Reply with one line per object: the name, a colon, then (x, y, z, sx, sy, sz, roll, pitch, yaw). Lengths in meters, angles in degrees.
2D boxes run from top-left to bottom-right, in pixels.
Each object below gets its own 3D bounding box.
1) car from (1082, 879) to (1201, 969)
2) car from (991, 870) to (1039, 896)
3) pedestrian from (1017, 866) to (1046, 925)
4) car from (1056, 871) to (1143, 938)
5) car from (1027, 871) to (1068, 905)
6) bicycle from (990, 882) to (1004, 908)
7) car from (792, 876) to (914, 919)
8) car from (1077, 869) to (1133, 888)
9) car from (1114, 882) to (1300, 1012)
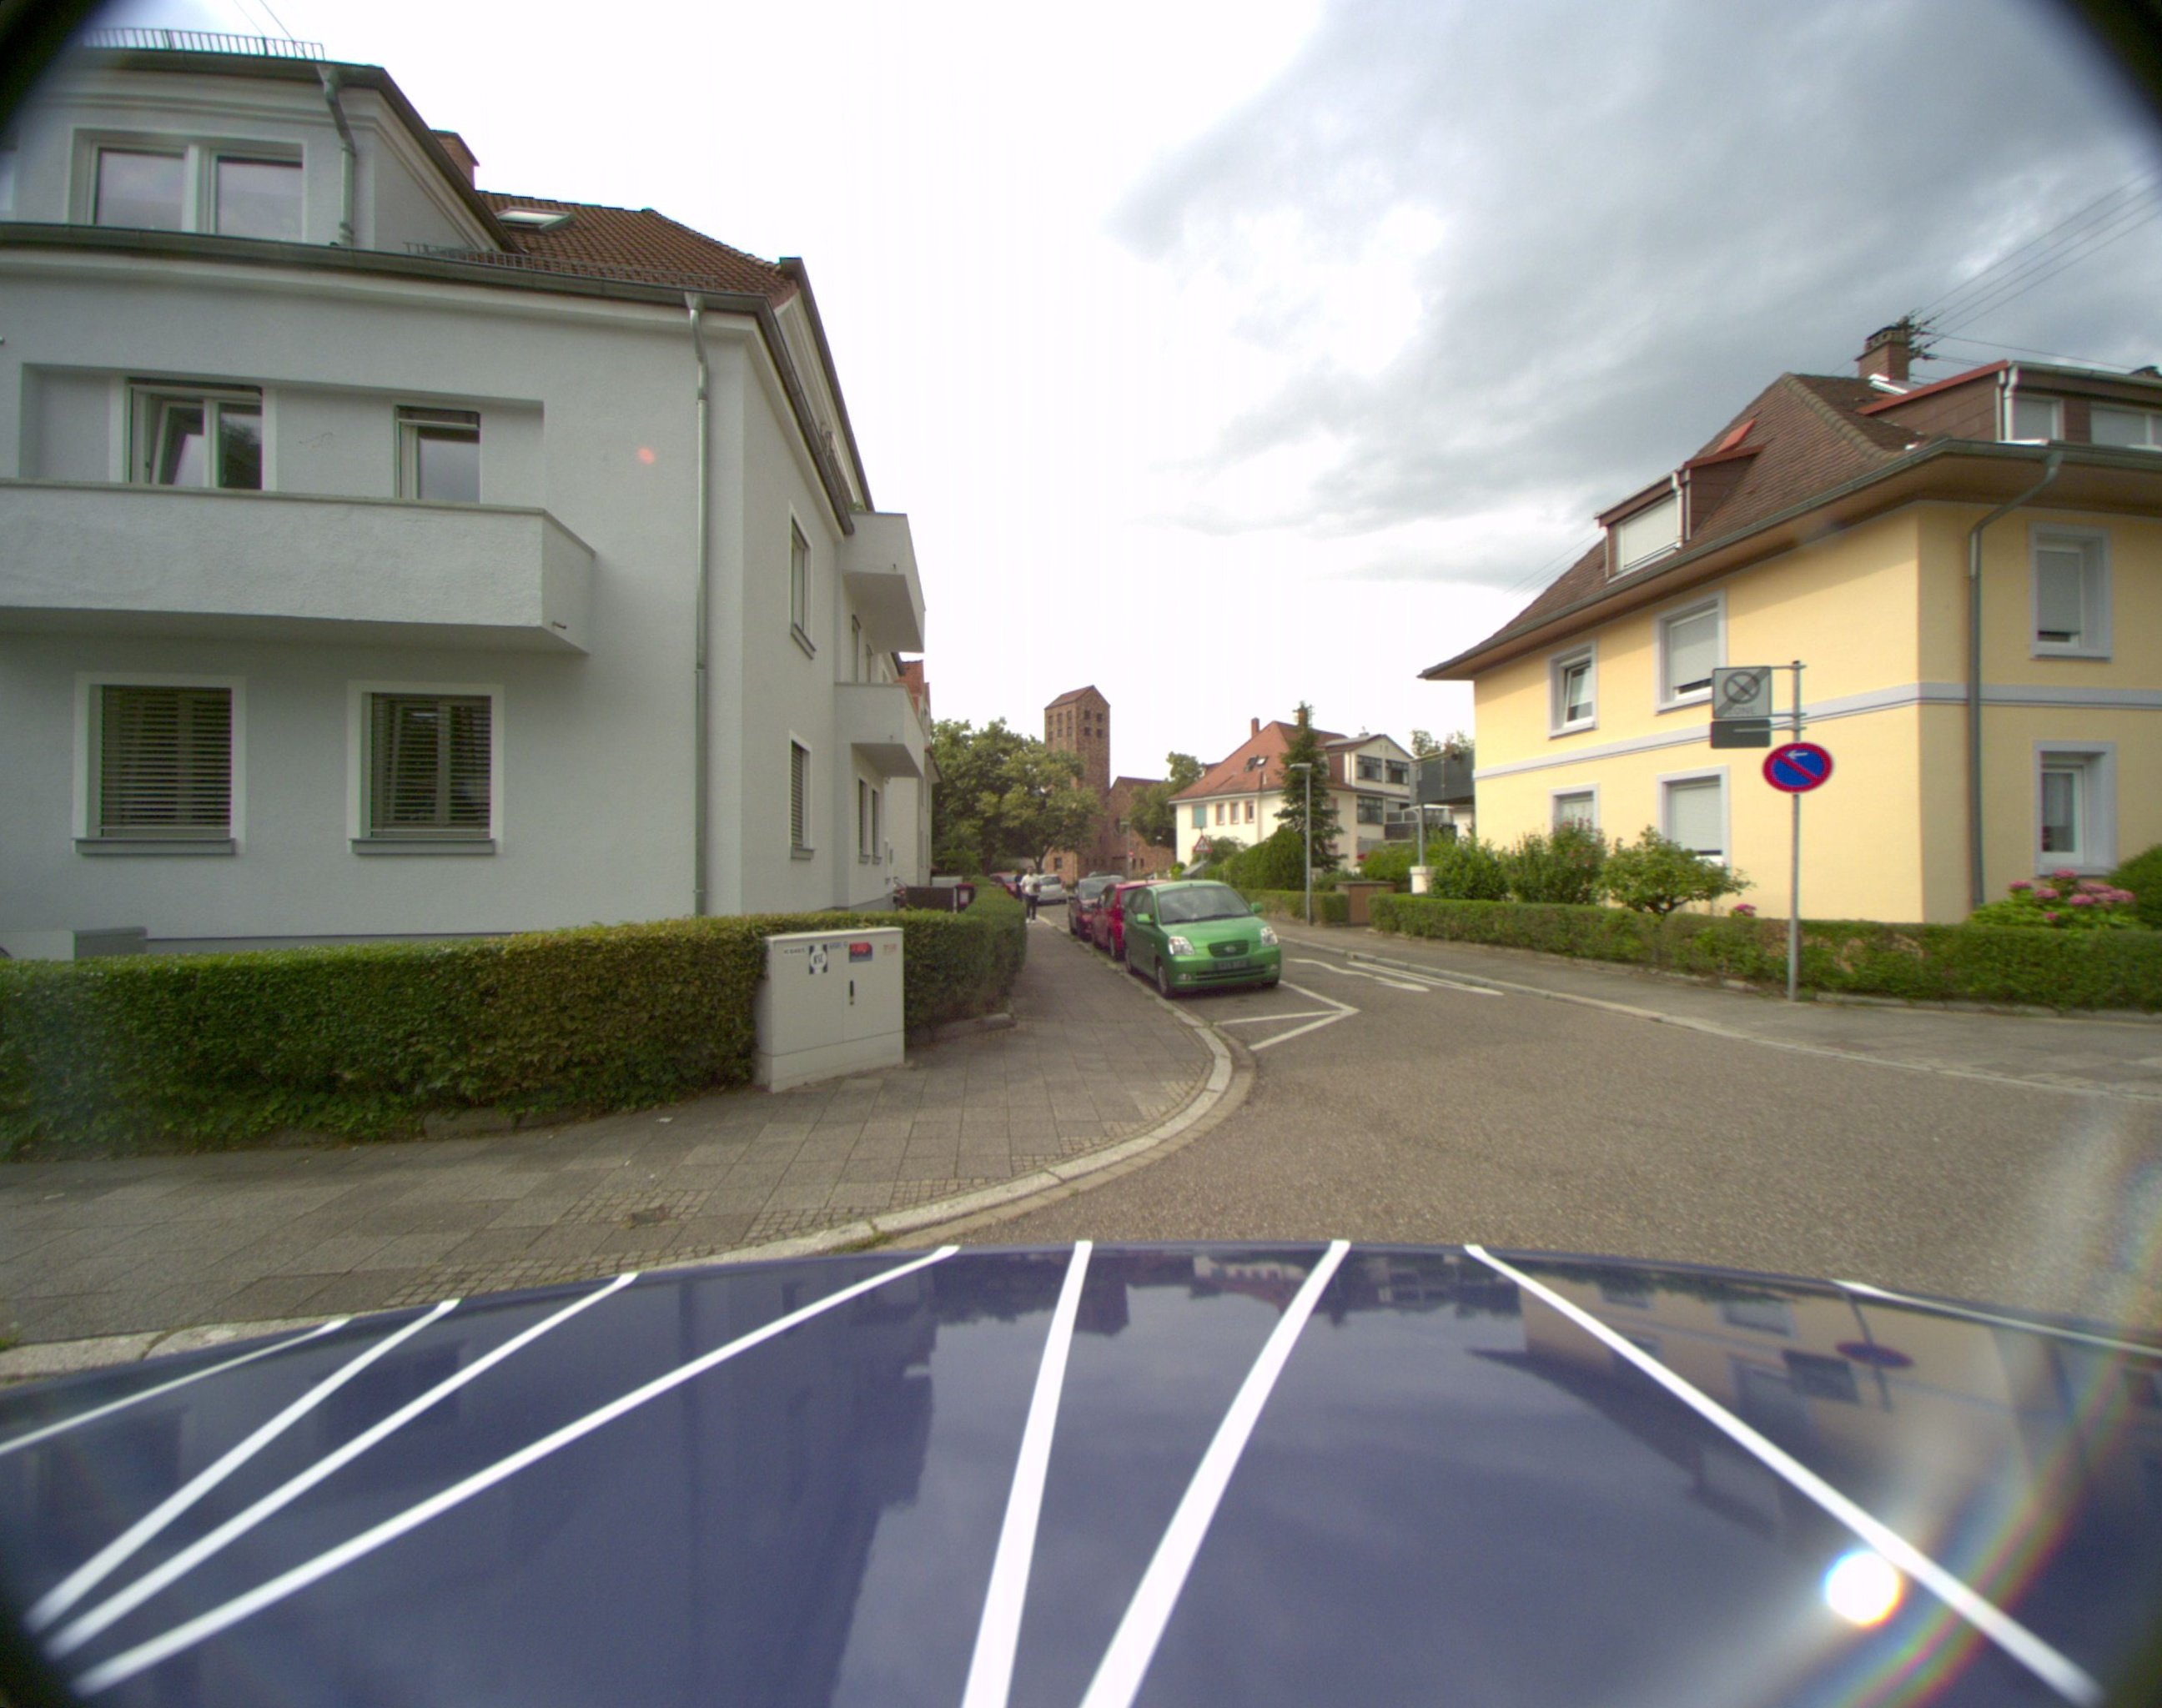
car: (1.126, 1.342, 15.715, 1.651, 1.487, 3.479, -3, 0, -8)
car: (-4.181, 1.816, 47.469, 1.653, 1.487, 3.474, -3, 0, -28)
pedestrian: (-1.615, 1.321, 24.596, 0.884, 1.867, 1.078, 0, 0, -7)
car: (0.405, 1.236, 19.994, 1.651, 1.487, 3.479, -3, 0, -8)
car: (-1.740, 1.684, 38.293, 1.651, 1.487, 3.479, -3, 0, -8)
bicycle: (-3.834, 1.855, 34.566, 0.423, 1.097, 2.113, 0, -1, -11)
car: (-8.289, 1.551, 27.913, 3.999, 1.455, 1.999, 0, -1, -7)
car: (1.903, 1.917, 60.330, 4.227, 1.455, 1.683, 0, 1, -8)
car: (1.651, 1.207, 11.158, 1.651, 1.413, 3.479, -3, 0, -8)
